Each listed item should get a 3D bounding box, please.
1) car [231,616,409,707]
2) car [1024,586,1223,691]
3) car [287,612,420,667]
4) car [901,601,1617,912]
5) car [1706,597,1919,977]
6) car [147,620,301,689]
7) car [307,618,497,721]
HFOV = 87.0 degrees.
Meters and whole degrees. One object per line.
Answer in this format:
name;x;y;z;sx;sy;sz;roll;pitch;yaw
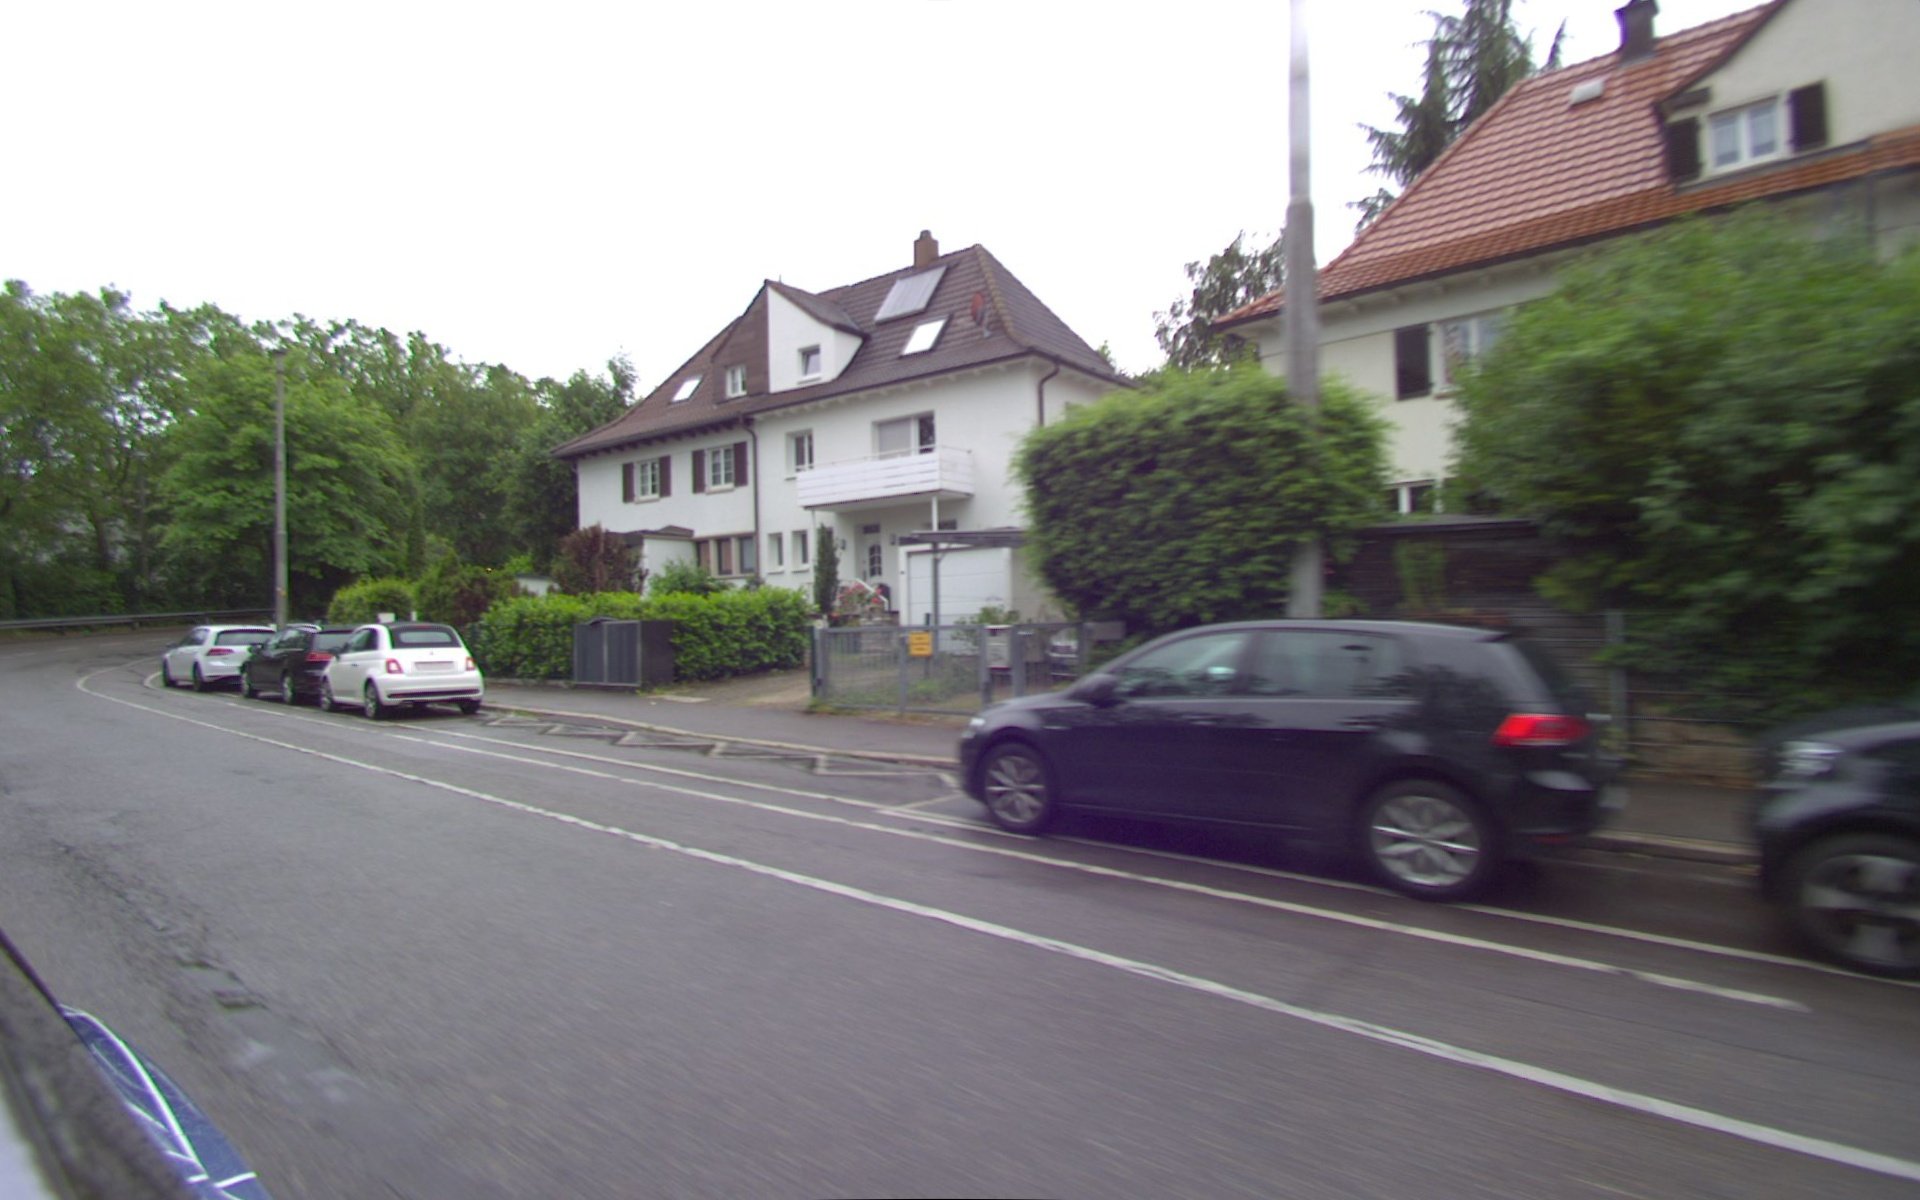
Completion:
car;-12.503;1.114;19.659;4.419;1.536;1.681;-1;0;40
car;2.990;0.589;17.923;1.660;1.458;3.947;0;3;40
car;-20.167;1.272;33.739;1.819;1.531;3.307;0;3;36
car;1.718;0.792;6.665;4.211;1.429;1.671;-2;-2;39
car;4.842;0.711;3.887;3.029;1.465;1.503;-2;-3;42
car;-16.968;1.237;23.269;4.276;1.433;1.716;-2;-3;38
car;-9.338;1.066;16.826;3.711;1.479;1.680;-1;0;43
